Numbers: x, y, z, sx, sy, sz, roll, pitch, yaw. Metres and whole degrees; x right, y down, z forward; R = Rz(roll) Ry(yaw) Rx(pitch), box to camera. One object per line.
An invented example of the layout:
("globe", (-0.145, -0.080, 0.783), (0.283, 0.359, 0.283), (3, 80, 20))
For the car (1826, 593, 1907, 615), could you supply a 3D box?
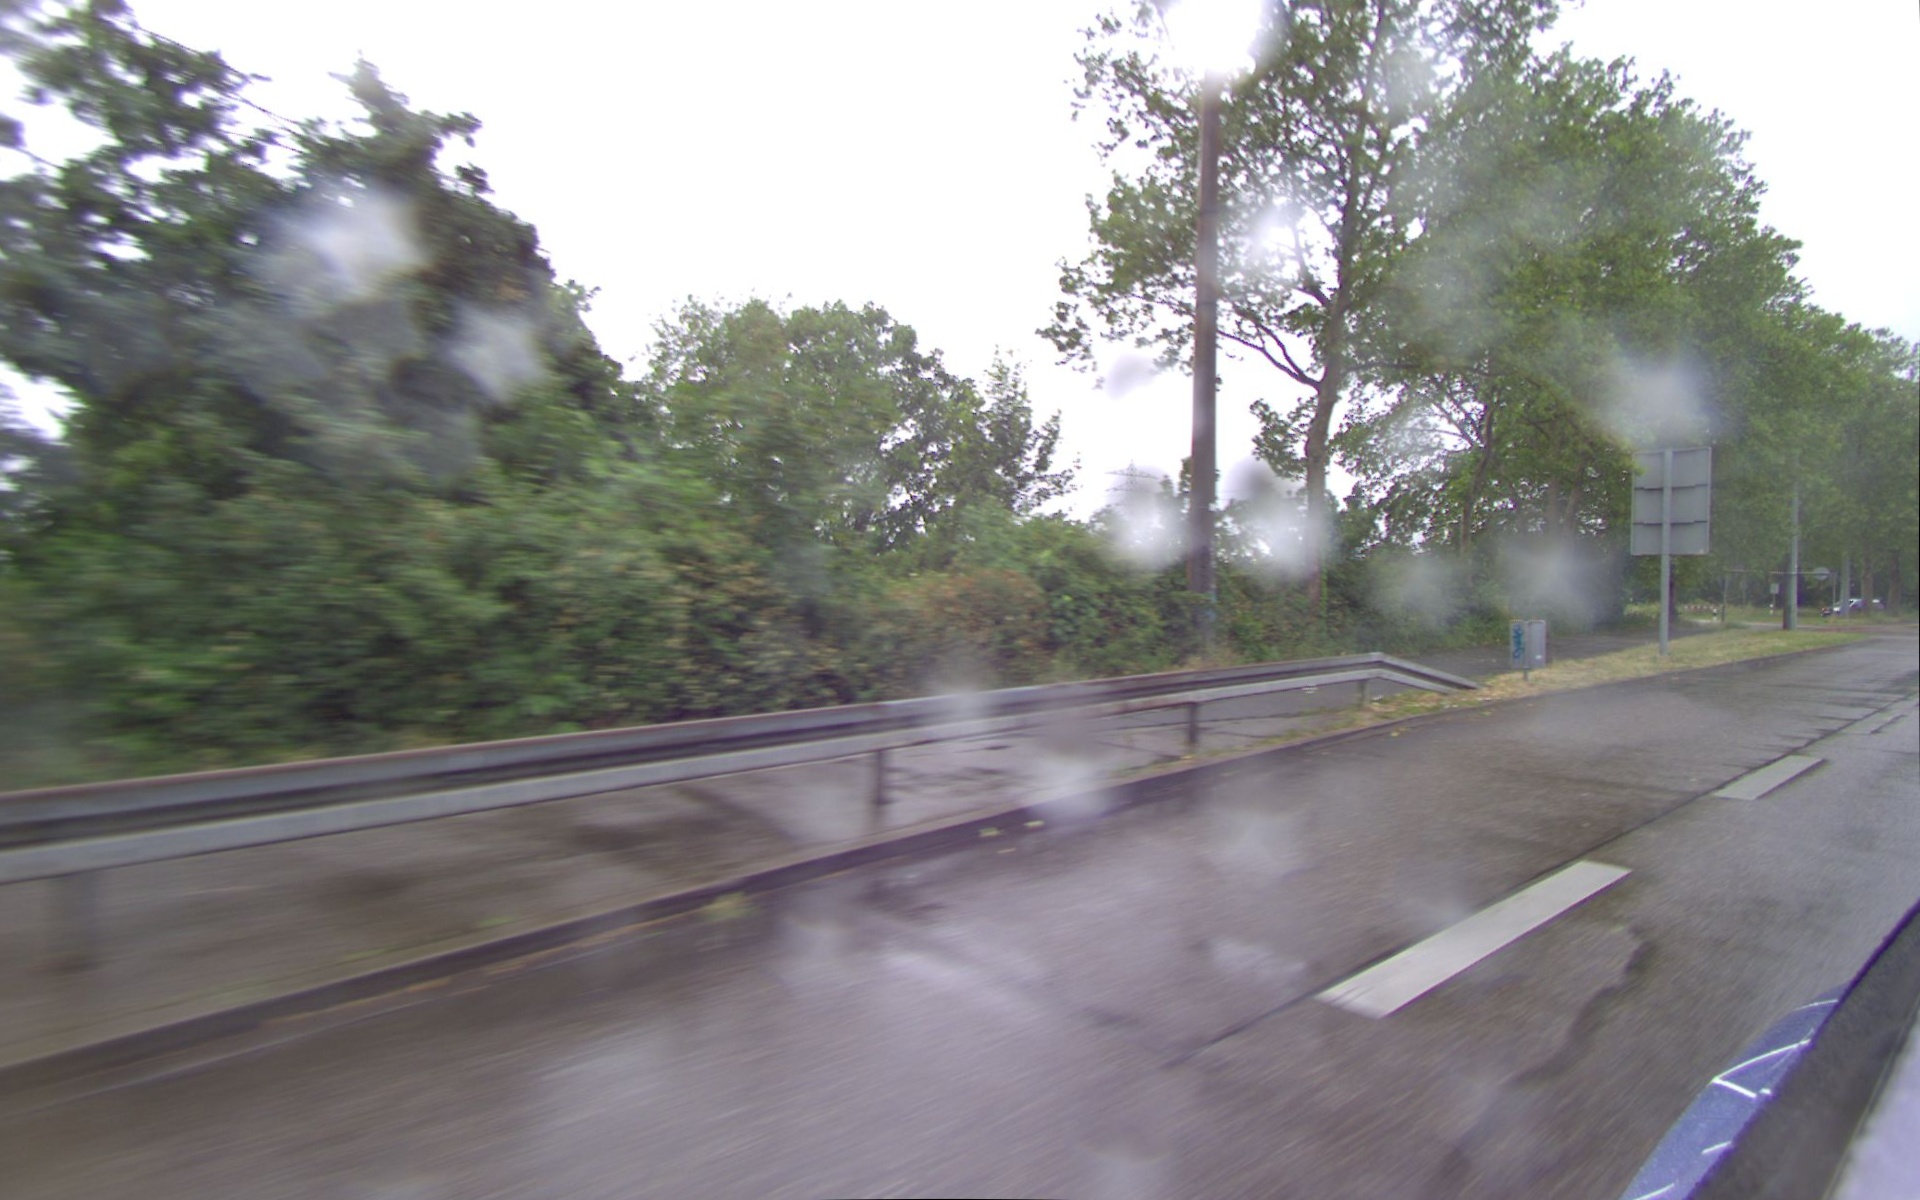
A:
("car", (71.592, 0.310, 79.962), (4.675, 1.724, 1.797), (0, -1, 2))
